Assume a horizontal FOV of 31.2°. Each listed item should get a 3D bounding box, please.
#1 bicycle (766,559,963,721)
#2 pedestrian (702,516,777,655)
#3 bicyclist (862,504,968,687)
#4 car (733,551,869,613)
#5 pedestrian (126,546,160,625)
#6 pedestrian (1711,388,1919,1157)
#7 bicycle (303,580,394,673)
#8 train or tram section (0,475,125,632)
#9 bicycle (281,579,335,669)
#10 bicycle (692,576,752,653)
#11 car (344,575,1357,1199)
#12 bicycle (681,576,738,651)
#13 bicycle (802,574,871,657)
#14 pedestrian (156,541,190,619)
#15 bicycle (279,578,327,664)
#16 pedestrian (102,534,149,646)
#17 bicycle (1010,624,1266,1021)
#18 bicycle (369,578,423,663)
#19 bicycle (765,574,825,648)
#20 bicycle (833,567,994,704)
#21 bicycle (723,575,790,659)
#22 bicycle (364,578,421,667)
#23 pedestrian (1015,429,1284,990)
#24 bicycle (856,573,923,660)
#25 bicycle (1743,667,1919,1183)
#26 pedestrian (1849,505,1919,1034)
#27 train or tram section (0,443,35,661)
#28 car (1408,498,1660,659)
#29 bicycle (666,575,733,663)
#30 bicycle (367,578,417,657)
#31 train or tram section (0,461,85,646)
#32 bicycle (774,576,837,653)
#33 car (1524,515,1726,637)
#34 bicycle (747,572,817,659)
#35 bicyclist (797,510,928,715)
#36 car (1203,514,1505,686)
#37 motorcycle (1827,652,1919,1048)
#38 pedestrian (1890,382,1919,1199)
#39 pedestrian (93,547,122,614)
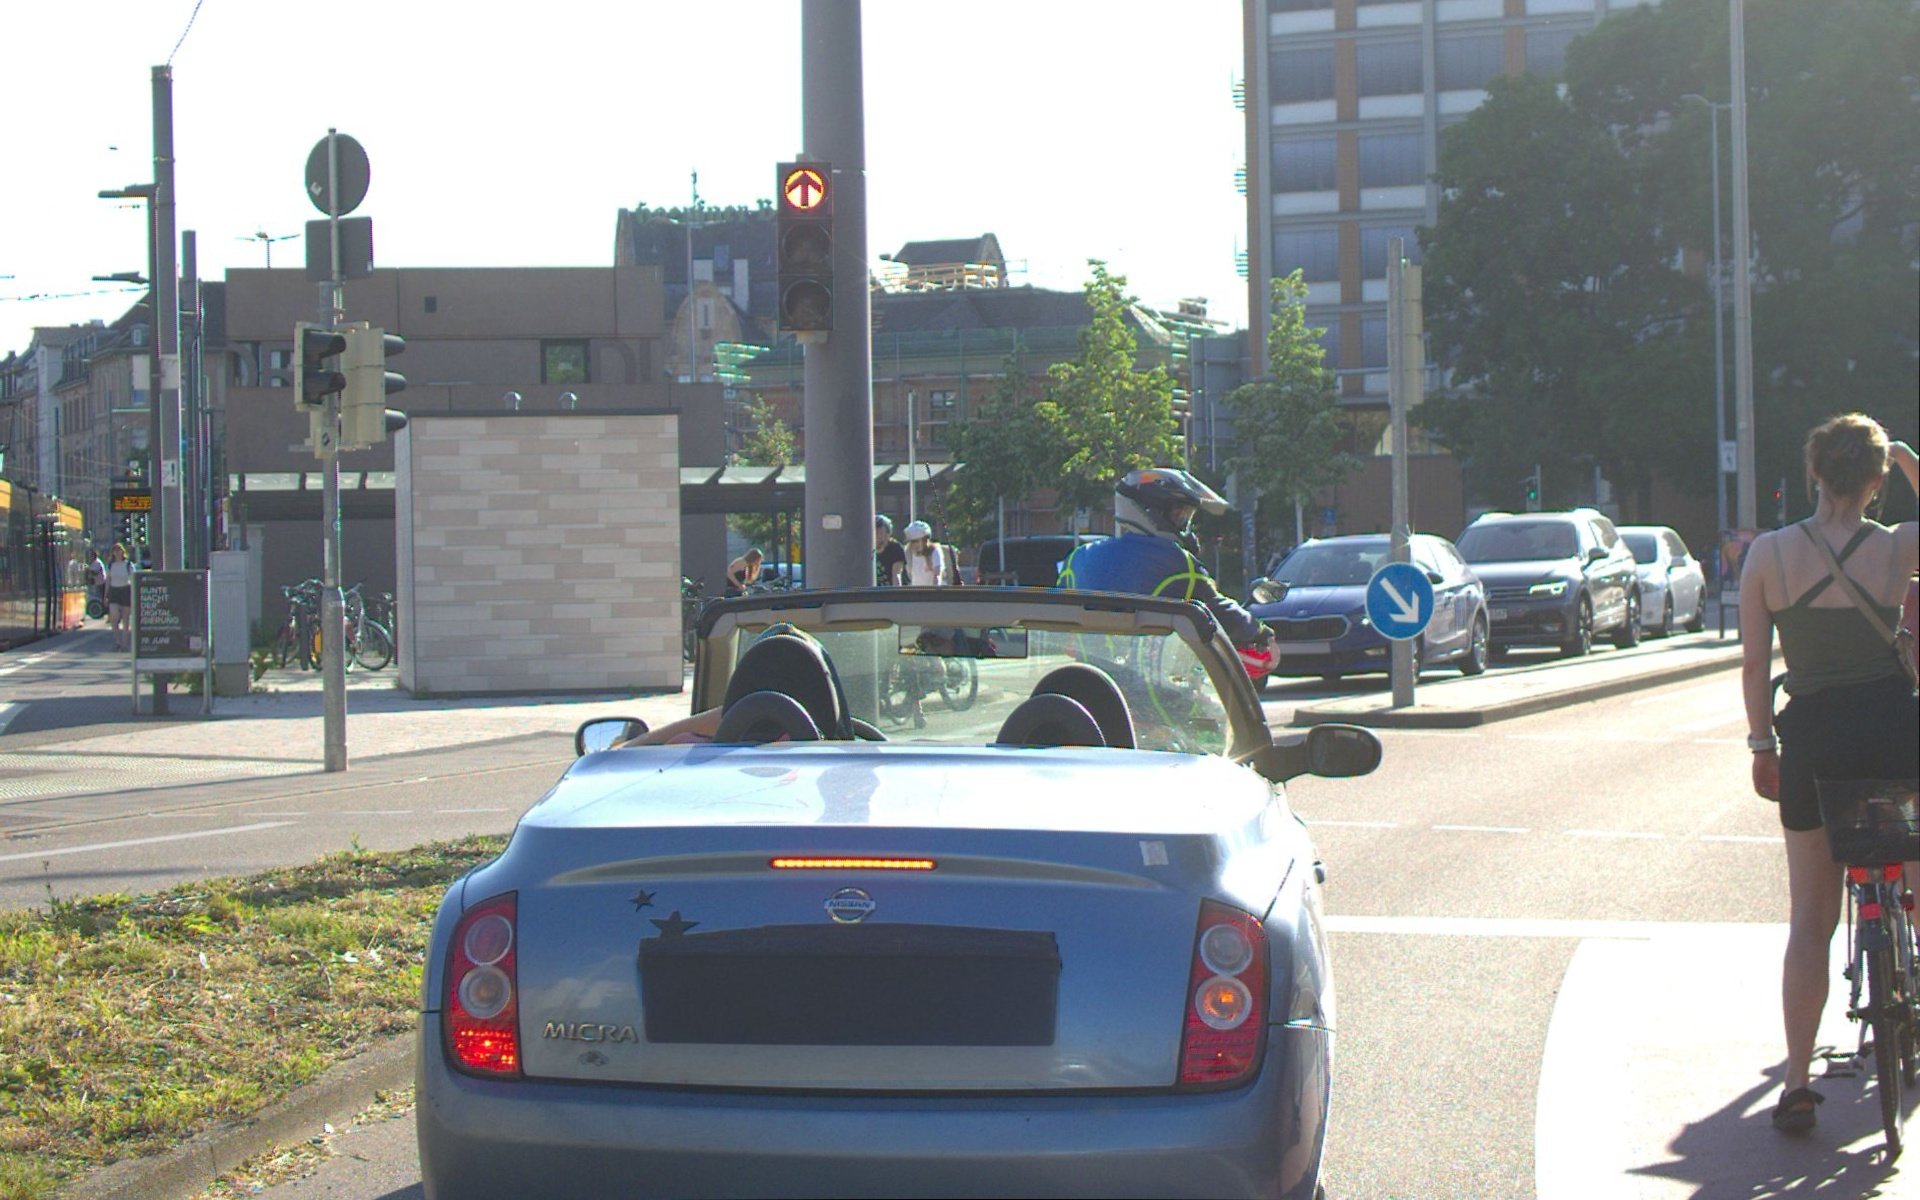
[{"bbox_3d":[-0.770,0.312,28.854,0.675,1.246,2.454,-3,0,22],"label":"bicycle"},{"bbox_3d":[-3.001,-0.199,46.789,0.900,1.862,0.687,1,0,-12],"label":"pedestrian"},{"bbox_3d":[-0.406,-0.047,31.489,0.709,1.651,0.742,-1,1,22],"label":"bicyclist"},{"bbox_3d":[-4.117,-0.458,88.690,1.640,1.555,3.599,-2,1,-39],"label":"car"},{"bbox_3d":[-18.304,-0.328,77.054,0.637,1.743,0.736,-1,1,-19],"label":"pedestrian"},{"bbox_3d":[2.288,0.414,8.786,0.659,1.862,0.872,1,0,15],"label":"pedestrian"},{"bbox_3d":[-7.542,0.316,42.468,0.607,1.111,1.896,1,1,5],"label":"bicycle"},{"bbox_3d":[-22.572,-1.143,84.599,3.039,3.584,12.055,1,1,-9],"label":"train or tram section"},{"bbox_3d":[-8.362,0.299,44.072,0.606,1.111,1.897,1,1,-12],"label":"bicycle"},{"bbox_3d":[-3.540,0.209,51.071,0.606,1.111,1.897,1,1,-12],"label":"bicycle"},{"bbox_3d":[0.034,0.677,7.694,1.660,1.436,4.153,1,1,6],"label":"car"},{"bbox_3d":[-3.871,0.198,53.038,0.606,1.111,1.897,1,1,-12],"label":"bicycle"},{"bbox_3d":[-1.718,0.202,47.585,0.606,1.111,1.897,1,1,-12],"label":"bicycle"},{"bbox_3d":[-17.780,-0.458,77.698,0.637,1.743,0.736,-1,1,-19],"label":"pedestrian"},{"bbox_3d":[-8.796,0.274,45.997,0.606,1.111,1.897,1,1,-11],"label":"bicycle"},{"bbox_3d":[-13.228,-0.163,54.519,0.637,1.743,0.572,-1,1,-19],"label":"pedestrian"},{"bbox_3d":[0.659,0.698,11.903,0.608,1.187,2.414,1,1,9],"label":"bicycle"},{"bbox_3d":[-7.626,0.265,46.466,0.606,1.111,1.897,1,1,-12],"label":"bicycle"},{"bbox_3d":[-2.558,0.160,53.245,0.606,1.111,1.897,1,1,-12],"label":"bicycle"},{"bbox_3d":[-0.405,0.309,31.468,0.675,1.176,2.181,-1,1,22],"label":"bicycle"},{"bbox_3d":[-2.804,0.223,47.198,0.606,1.111,1.897,1,1,-12],"label":"bicycle"},{"bbox_3d":[-7.337,0.276,44.403,0.606,1.111,1.897,1,1,-12],"label":"bicycle"},{"bbox_3d":[0.675,0.360,11.966,0.833,1.862,0.920,1,0,8],"label":"pedestrian"},{"bbox_3d":[-0.944,0.206,45.568,0.606,1.111,1.897,1,1,-10],"label":"bicycle"},{"bbox_3d":[2.370,0.778,8.979,0.564,1.147,1.948,1,1,14],"label":"bicycle"},{"bbox_3d":[3.135,0.511,10.816,0.588,1.593,1.024,1,0,17],"label":"pedestrian"},{"bbox_3d":[-18.163,-0.854,60.682,2.880,3.584,12.203,1,1,-12],"label":"train or tram section"},{"bbox_3d":[6.691,-0.274,39.720,1.763,1.700,4.525,-2,0,24],"label":"car"},{"bbox_3d":[-3.427,0.235,45.125,0.606,1.111,1.897,1,1,-12],"label":"bicycle"},{"bbox_3d":[-8.327,0.243,50.341,0.606,1.111,1.897,1,1,-12],"label":"bicycle"},{"bbox_3d":[-20.505,-0.994,72.672,3.011,3.584,12.203,1,1,-10],"label":"train or tram section"},{"bbox_3d":[-2.310,0.206,51.274,0.606,1.111,1.897,1,1,-12],"label":"bicycle"},{"bbox_3d":[9.004,-0.348,46.331,1.697,1.555,3.974,-1,1,25],"label":"car"},{"bbox_3d":[-2.353,0.190,45.266,0.606,1.111,1.897,1,1,-12],"label":"bicycle"},{"bbox_3d":[-0.810,0.098,28.783,0.709,1.651,0.900,-3,0,22],"label":"bicyclist"},{"bbox_3d":[3.917,-0.014,33.635,1.739,1.568,3.919,1,1,25],"label":"car"},{"bbox_3d":[3.175,0.745,11.081,0.614,1.094,2.358,1,1,17],"label":"motorcycle"},{"bbox_3d":[2.491,0.455,7.399,0.806,1.862,0.956,1,0,8],"label":"pedestrian"},{"bbox_3d":[-22.291,-0.516,89.928,0.604,1.743,0.832,-1,1,-8],"label":"pedestrian"}]
